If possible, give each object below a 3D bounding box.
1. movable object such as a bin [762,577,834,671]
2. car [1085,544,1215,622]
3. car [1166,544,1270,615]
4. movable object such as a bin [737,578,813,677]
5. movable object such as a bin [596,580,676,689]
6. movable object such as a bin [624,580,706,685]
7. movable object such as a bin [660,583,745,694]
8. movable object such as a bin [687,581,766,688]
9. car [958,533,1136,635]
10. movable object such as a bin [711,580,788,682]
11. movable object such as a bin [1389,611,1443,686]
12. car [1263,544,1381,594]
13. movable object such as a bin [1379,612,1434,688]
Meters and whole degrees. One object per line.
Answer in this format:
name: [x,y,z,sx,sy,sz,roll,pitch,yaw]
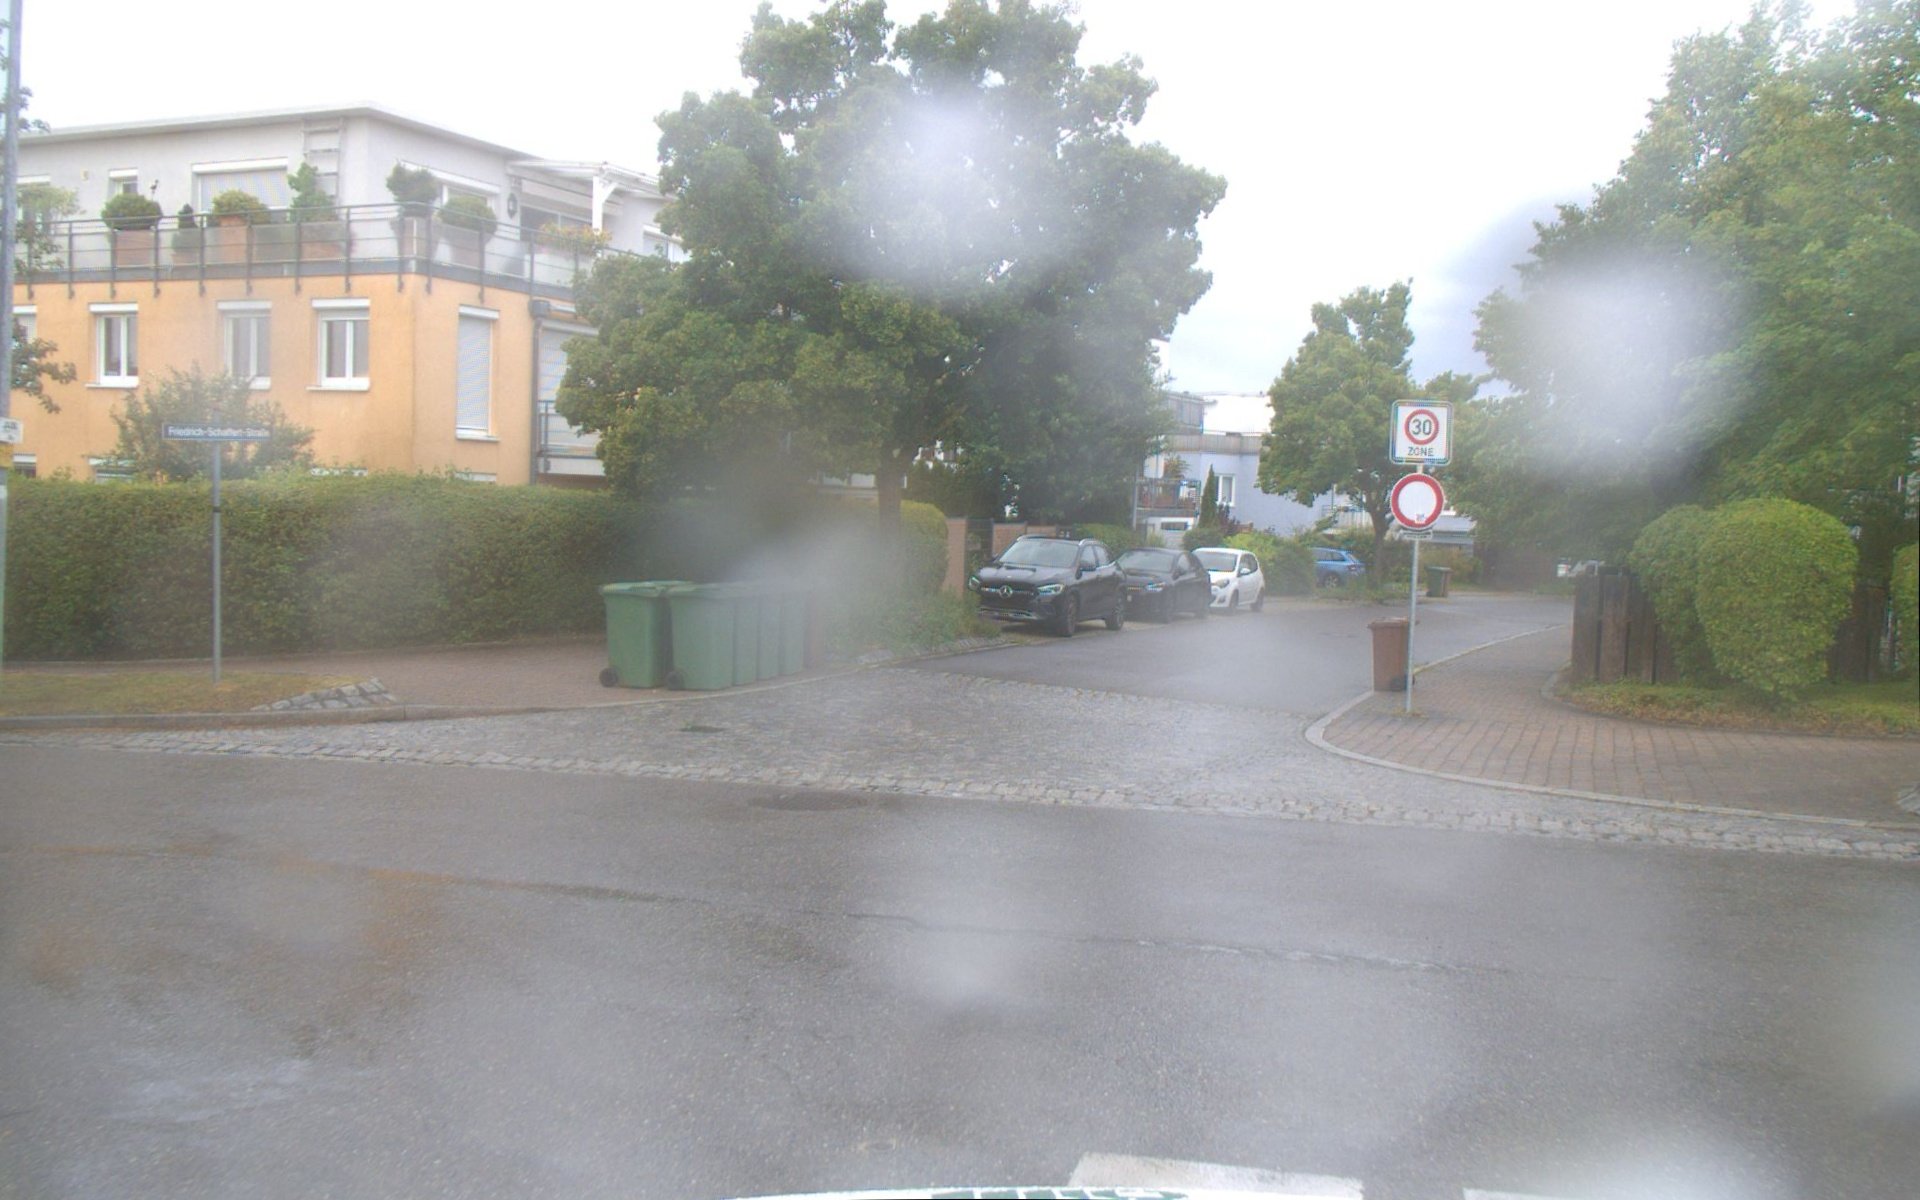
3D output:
movable object such as a bin: [-1.931,0.273,19.789,0.679,1.073,0.606,2,2,15]
car: [4.019,-0.381,34.493,1.603,1.433,3.603,5,3,24]
car: [6.111,-0.505,38.943,1.481,1.502,3.271,5,3,25]
movable object such as a bin: [-2.118,0.305,18.996,0.679,1.073,0.606,2,2,15]
movable object such as a bin: [-3.415,0.355,17.460,0.651,1.092,0.544,2,2,16]
movable object such as a bin: [-3.214,0.339,18.044,0.679,1.091,0.598,2,2,15]
movable object such as a bin: [-2.687,0.388,17.272,0.679,1.093,0.603,2,2,15]
movable object such as a bin: [-2.517,0.361,17.853,0.679,1.093,0.544,2,2,15]
car: [1.608,-0.318,28.950,1.740,1.544,4.137,5,3,22]
movable object such as a bin: [-2.341,0.331,18.412,0.679,1.085,0.579,2,2,15]
movable object such as a bin: [6.143,0.646,22.267,0.559,0.947,0.529,3,2,28]
car: [13.126,-1.141,59.960,3.905,1.595,1.909,3,2,20]
movable object such as a bin: [5.871,0.654,21.754,0.559,0.947,0.529,3,2,28]
